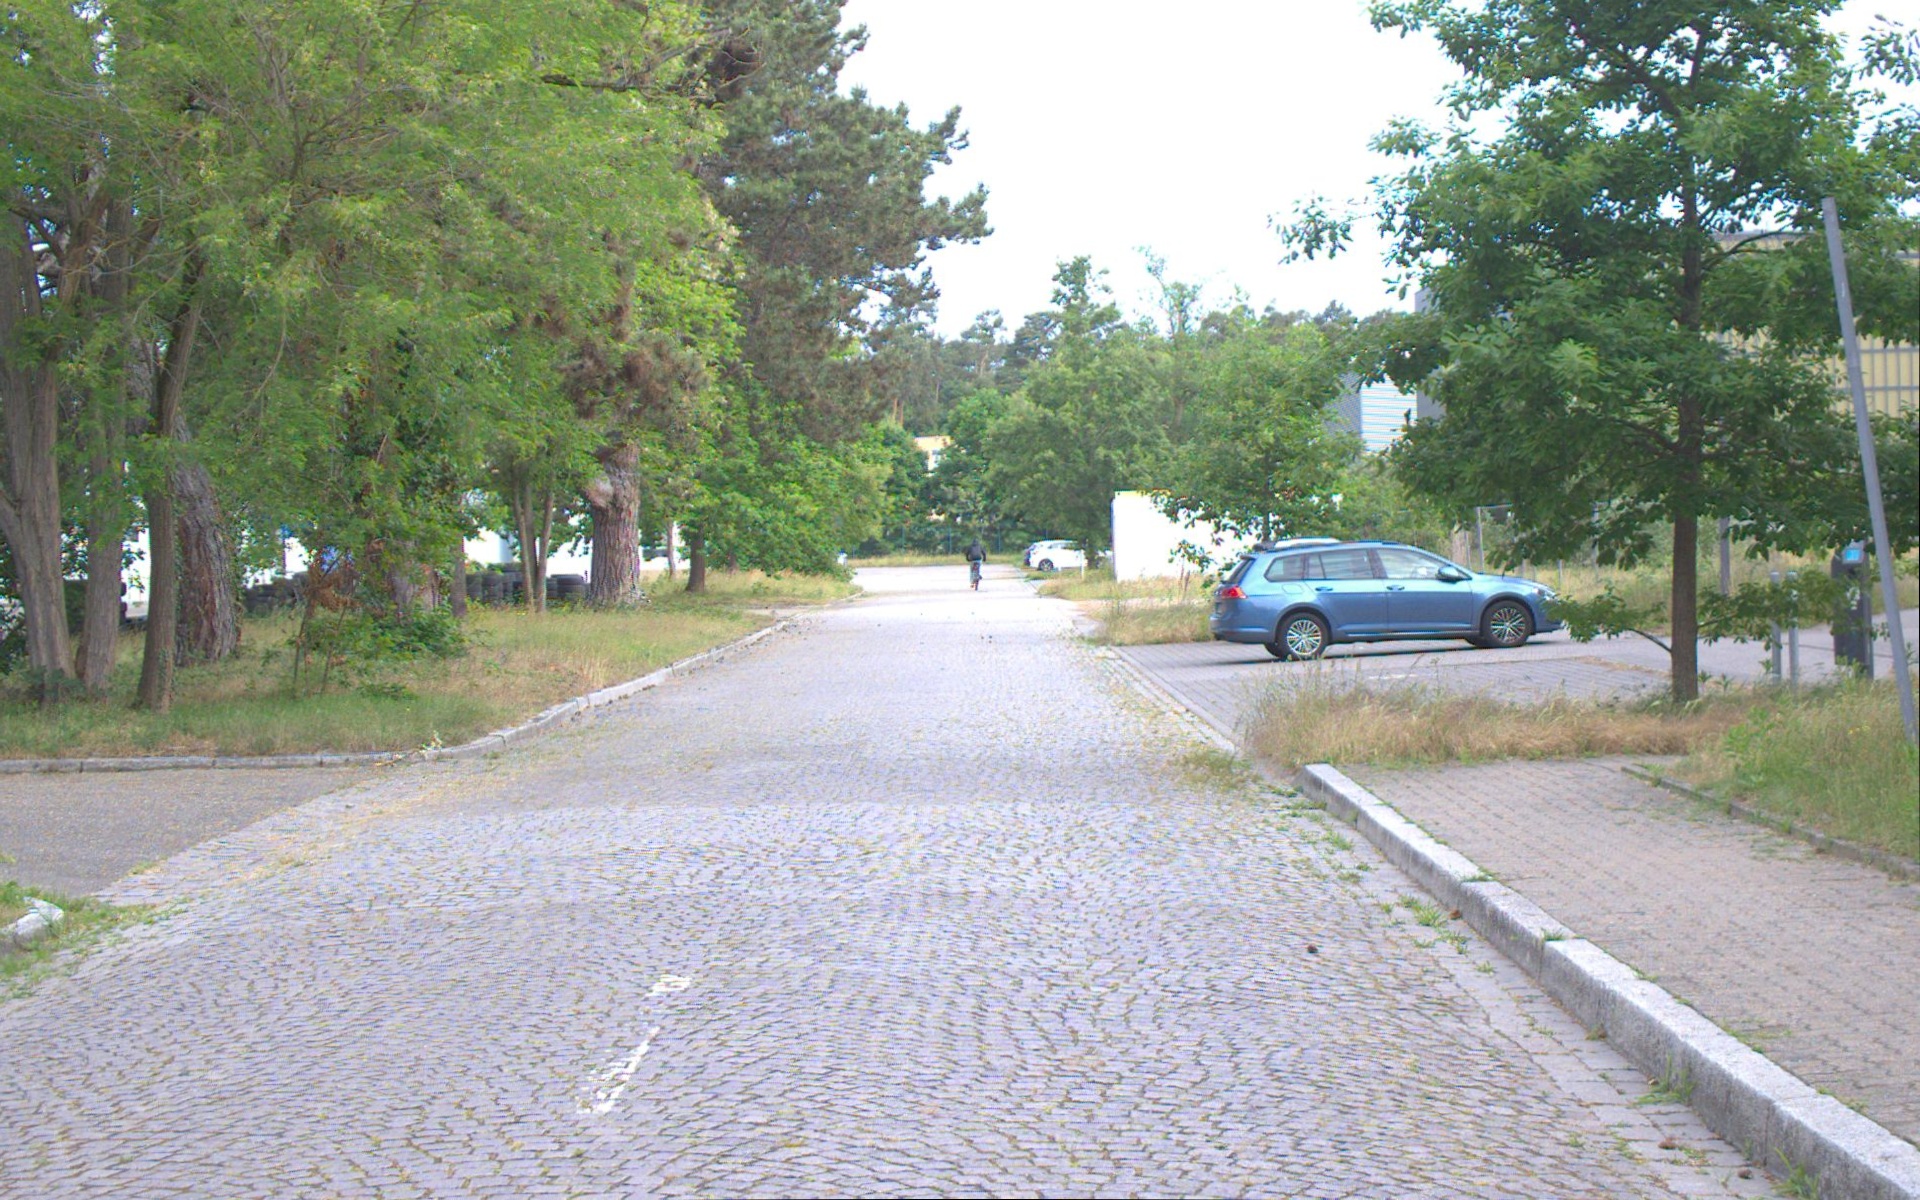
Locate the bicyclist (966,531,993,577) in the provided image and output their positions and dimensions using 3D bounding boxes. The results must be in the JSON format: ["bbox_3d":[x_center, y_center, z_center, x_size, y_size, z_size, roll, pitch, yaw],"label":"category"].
[{"bbox_3d":[0.661,-1.584,117.947,0.897,1.537,0.868,-1,2,-1],"label":"bicyclist"}]

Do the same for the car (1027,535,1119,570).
[{"bbox_3d":[5.406,-2.287,164.604,4.322,1.544,2.000,-1,1,2],"label":"car"}]

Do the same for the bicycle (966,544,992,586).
[{"bbox_3d":[0.660,-1.194,117.913,0.823,1.372,2.043,-1,2,-1],"label":"bicycle"}]

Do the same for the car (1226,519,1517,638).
[{"bbox_3d":[6.217,-0.338,52.234,4.107,1.567,1.765,-3,1,-2],"label":"car"}]

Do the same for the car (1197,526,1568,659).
[{"bbox_3d":[5.452,-0.109,44.790,4.480,1.457,1.935,-3,1,-2],"label":"car"}]
